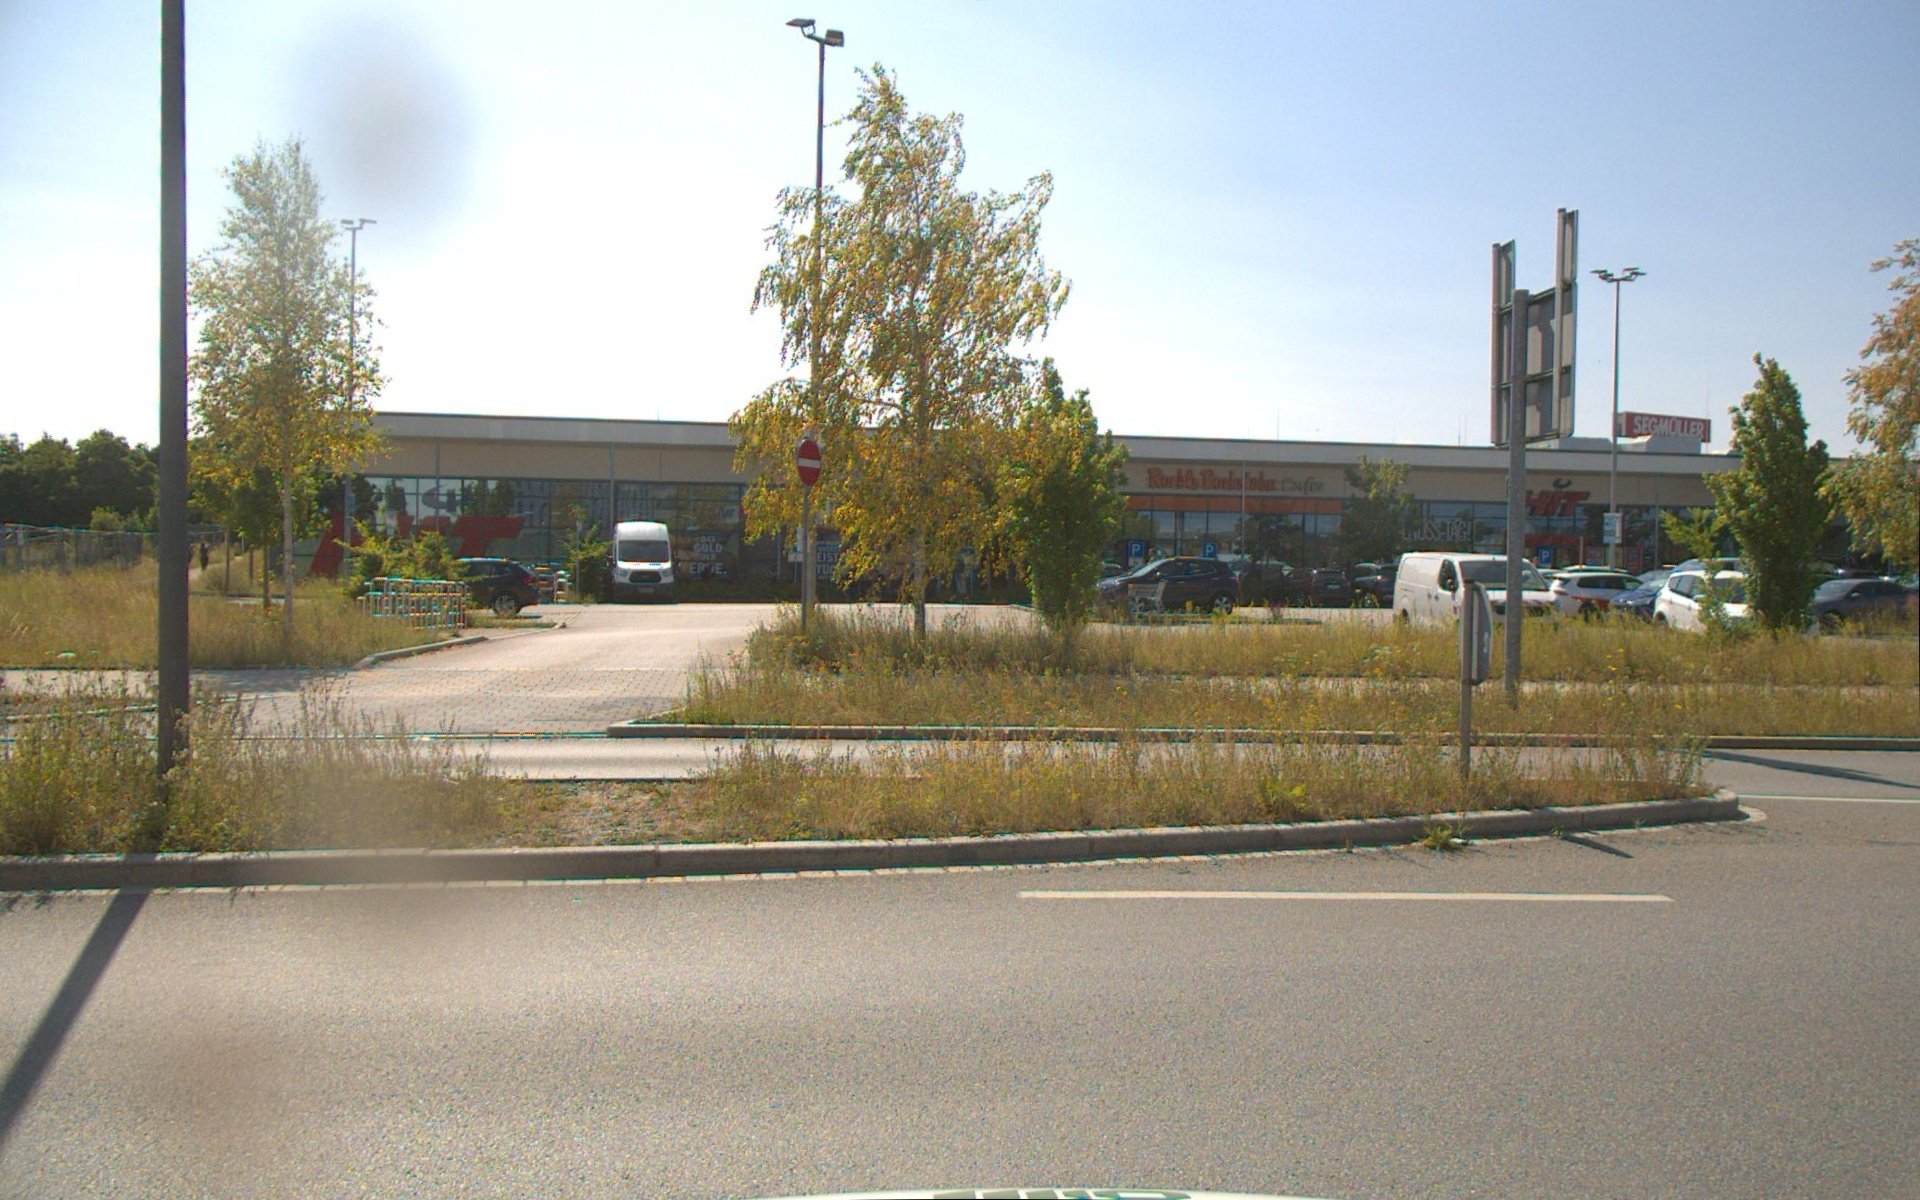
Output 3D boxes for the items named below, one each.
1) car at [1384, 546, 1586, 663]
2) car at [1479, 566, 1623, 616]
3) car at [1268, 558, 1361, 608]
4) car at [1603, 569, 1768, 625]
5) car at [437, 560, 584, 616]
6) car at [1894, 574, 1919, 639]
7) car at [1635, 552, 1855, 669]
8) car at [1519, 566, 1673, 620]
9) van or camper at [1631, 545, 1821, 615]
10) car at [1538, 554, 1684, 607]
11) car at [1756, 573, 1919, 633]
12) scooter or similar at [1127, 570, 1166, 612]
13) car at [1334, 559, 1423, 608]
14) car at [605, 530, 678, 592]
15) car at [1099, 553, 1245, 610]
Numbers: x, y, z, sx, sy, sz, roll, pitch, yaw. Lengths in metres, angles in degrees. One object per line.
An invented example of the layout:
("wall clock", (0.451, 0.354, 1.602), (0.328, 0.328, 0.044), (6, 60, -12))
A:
("car", (10.020, 0.008, 32.069), (2.039, 2.048, 5.227), (1, 1, -2))
("car", (17.446, -0.266, 48.867), (3.656, 1.415, 1.726), (0, 1, -14))
("car", (13.153, -0.667, 61.540), (1.958, 1.737, 3.990), (0, 2, -11))
("car", (19.025, -0.086, 43.411), (3.656, 1.415, 1.726), (0, 1, -14))
("car", (-12.266, -0.327, 45.315), (3.767, 1.448, 1.766), (1, 1, -14))
("car", (34.090, 0.258, 55.515), (4.384, 2.139, 1.998), (1, 1, -6))
("car", (15.132, 0.122, 32.254), (2.112, 2.048, 5.119), (1, 1, 4))
("car", (17.609, -0.195, 45.826), (3.656, 1.415, 1.726), (0, 1, -14))
("van or camper", (23.293, -0.619, 50.372), (4.941, 2.048, 1.997), (0, 1, -8))
("car", (22.836, -0.680, 58.087), (4.386, 1.735, 1.872), (1, 1, -7))
("car", (24.034, 0.078, 45.017), (3.913, 1.534, 1.871), (1, 1, -9))
("scooter or similar", (5.047, -0.254, 44.732), (0.925, 1.098, 0.651), (1, 1, -6))
("car", (15.703, -0.645, 62.268), (1.955, 1.737, 3.995), (1, 2, -7))
("car", (-11.115, -1.355, 57.395), (2.184, 2.011, 6.673), (0, 2, -14))
("car", (5.940, -0.525, 46.576), (3.724, 1.535, 1.728), (0, 1, -10))
